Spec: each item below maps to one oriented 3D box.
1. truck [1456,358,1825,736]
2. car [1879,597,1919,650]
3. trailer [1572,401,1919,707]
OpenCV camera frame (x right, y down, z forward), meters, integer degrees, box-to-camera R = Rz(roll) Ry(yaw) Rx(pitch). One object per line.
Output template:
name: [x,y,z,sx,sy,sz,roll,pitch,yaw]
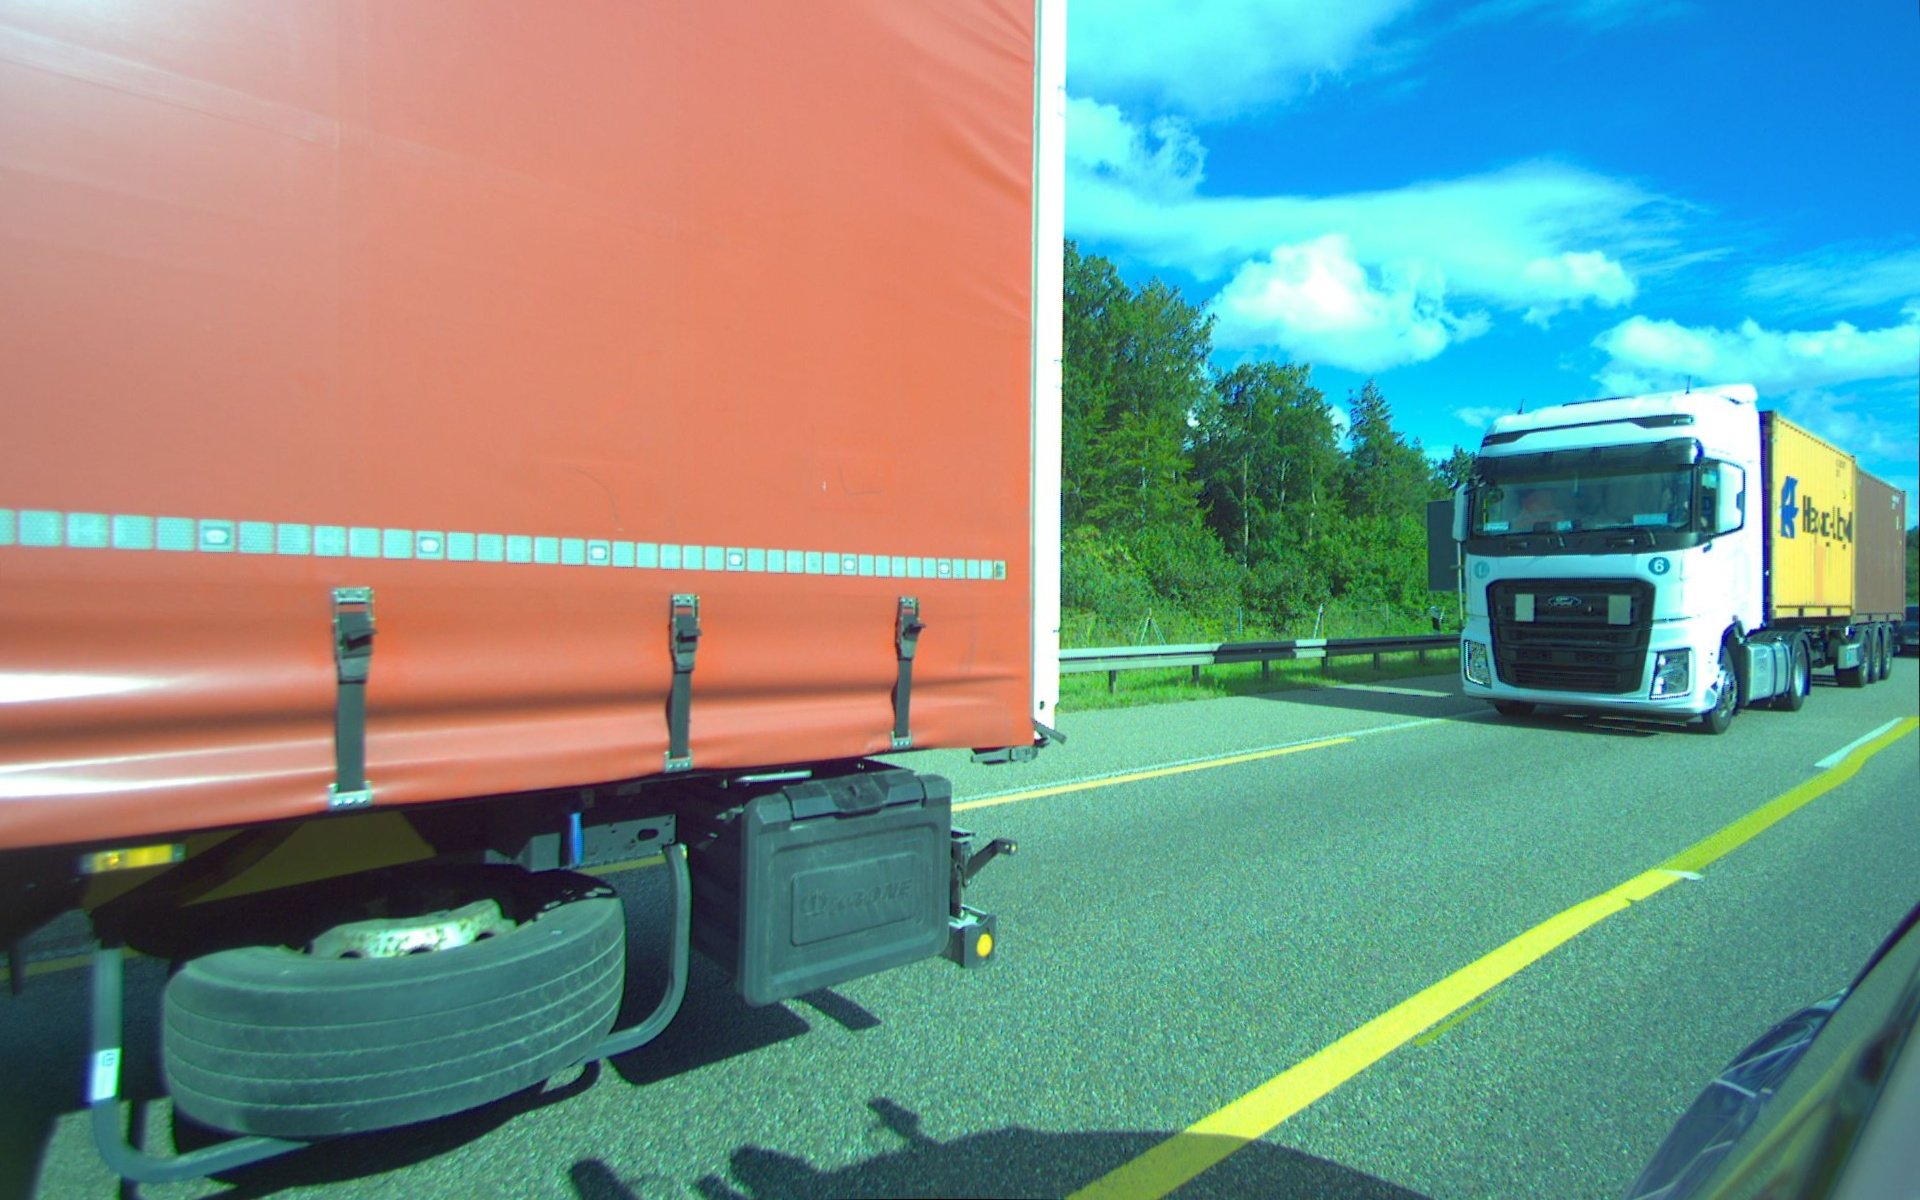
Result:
truck: [8.935,-0.562,13.045,5.687,3.828,2.499,0,0,-40]
car: [26.904,0.625,27.798,4.399,1.367,1.932,0,1,-41]
trailer: [14.139,-0.597,17.497,11.922,3.822,2.476,0,0,-41]
